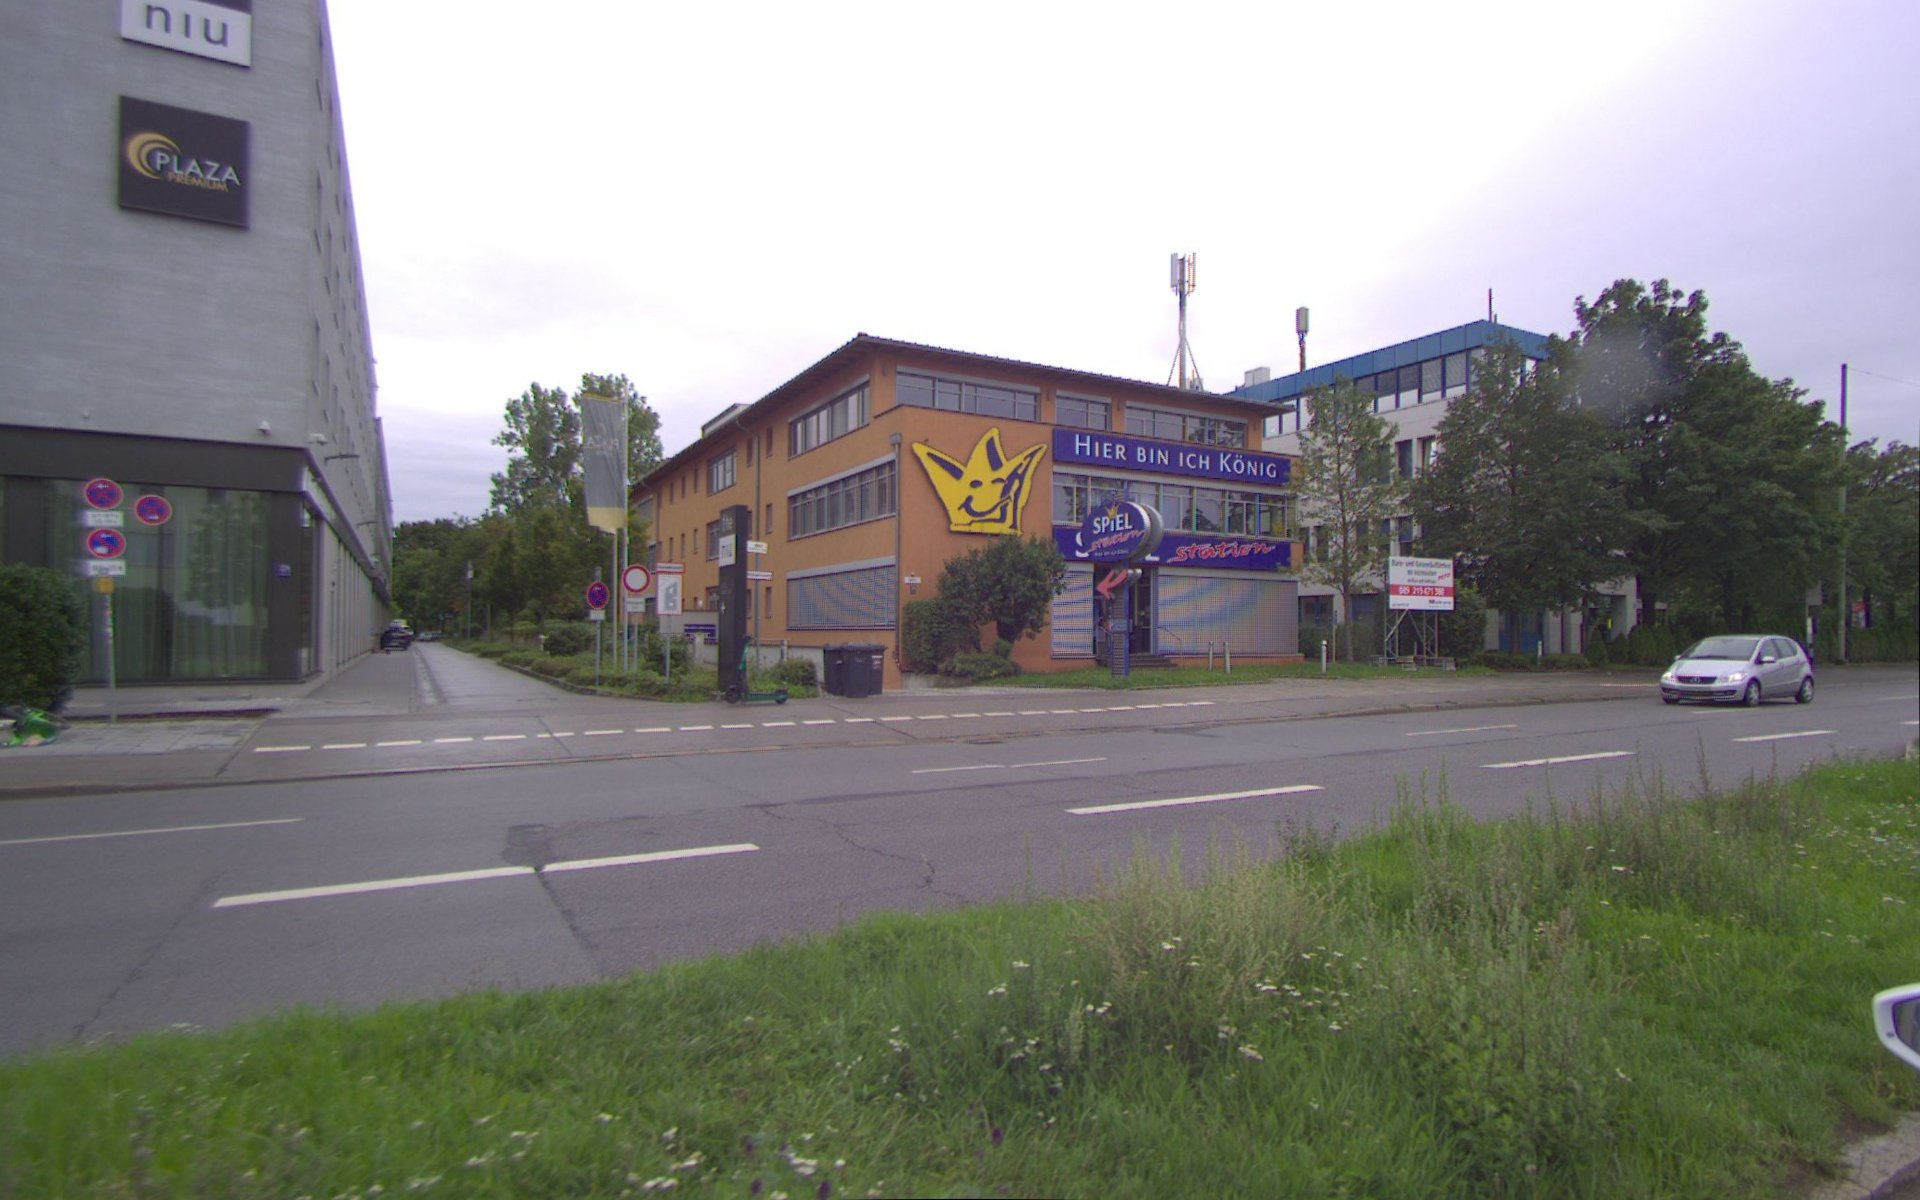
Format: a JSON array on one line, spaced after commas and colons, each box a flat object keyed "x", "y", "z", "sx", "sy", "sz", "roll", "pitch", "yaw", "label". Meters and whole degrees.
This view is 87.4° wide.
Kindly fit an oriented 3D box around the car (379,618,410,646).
[{"x": -42.766, "y": 2.401, "z": 75.946, "sx": 1.976, "sy": 2.040, "sz": 3.969, "roll": 1, "pitch": -1, "yaw": -29, "label": "car"}]

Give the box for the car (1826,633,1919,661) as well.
[{"x": 56.107, "y": 2.857, "z": 61.470, "sx": 1.970, "sy": 1.595, "sz": 4.264, "roll": -1, "pitch": -2, "yaw": -20, "label": "car"}]

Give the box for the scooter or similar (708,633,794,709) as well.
[{"x": -3.814, "y": 1.279, "z": 18.349, "sx": 1.387, "sy": 1.295, "sz": 0.583, "roll": 1, "pitch": 3, "yaw": -29, "label": "scooter or similar"}]

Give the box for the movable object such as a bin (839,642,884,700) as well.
[{"x": -1.951, "y": 1.391, "z": 19.950, "sx": 0.647, "sy": 1.092, "sz": 0.734, "roll": 1, "pitch": -1, "yaw": -29, "label": "movable object such as a bin"}]

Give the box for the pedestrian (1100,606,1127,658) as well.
[{"x": 5.221, "y": 1.084, "z": 34.172, "sx": 0.653, "sy": 1.735, "sz": 0.657, "roll": 1, "pitch": 0, "yaw": -23, "label": "pedestrian"}]

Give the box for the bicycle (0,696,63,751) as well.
[{"x": -12.040, "y": 1.505, "z": 12.097, "sx": 1.712, "sy": 0.556, "sz": 0.716, "roll": 1, "pitch": 2, "yaw": -30, "label": "bicycle"}]

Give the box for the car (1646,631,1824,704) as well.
[{"x": 18.073, "y": 1.534, "z": 23.403, "sx": 3.976, "sy": 1.578, "sz": 1.807, "roll": 1, "pitch": -3, "yaw": -28, "label": "car"}]

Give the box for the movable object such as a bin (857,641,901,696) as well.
[{"x": -1.692, "y": 1.418, "z": 20.942, "sx": 0.647, "sy": 1.092, "sz": 0.734, "roll": 1, "pitch": -1, "yaw": -29, "label": "movable object such as a bin"}]

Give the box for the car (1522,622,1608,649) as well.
[{"x": 34.183, "y": 1.986, "z": 56.902, "sx": 1.837, "sy": 1.437, "sz": 4.167, "roll": 1, "pitch": -1, "yaw": -12, "label": "car"}]
